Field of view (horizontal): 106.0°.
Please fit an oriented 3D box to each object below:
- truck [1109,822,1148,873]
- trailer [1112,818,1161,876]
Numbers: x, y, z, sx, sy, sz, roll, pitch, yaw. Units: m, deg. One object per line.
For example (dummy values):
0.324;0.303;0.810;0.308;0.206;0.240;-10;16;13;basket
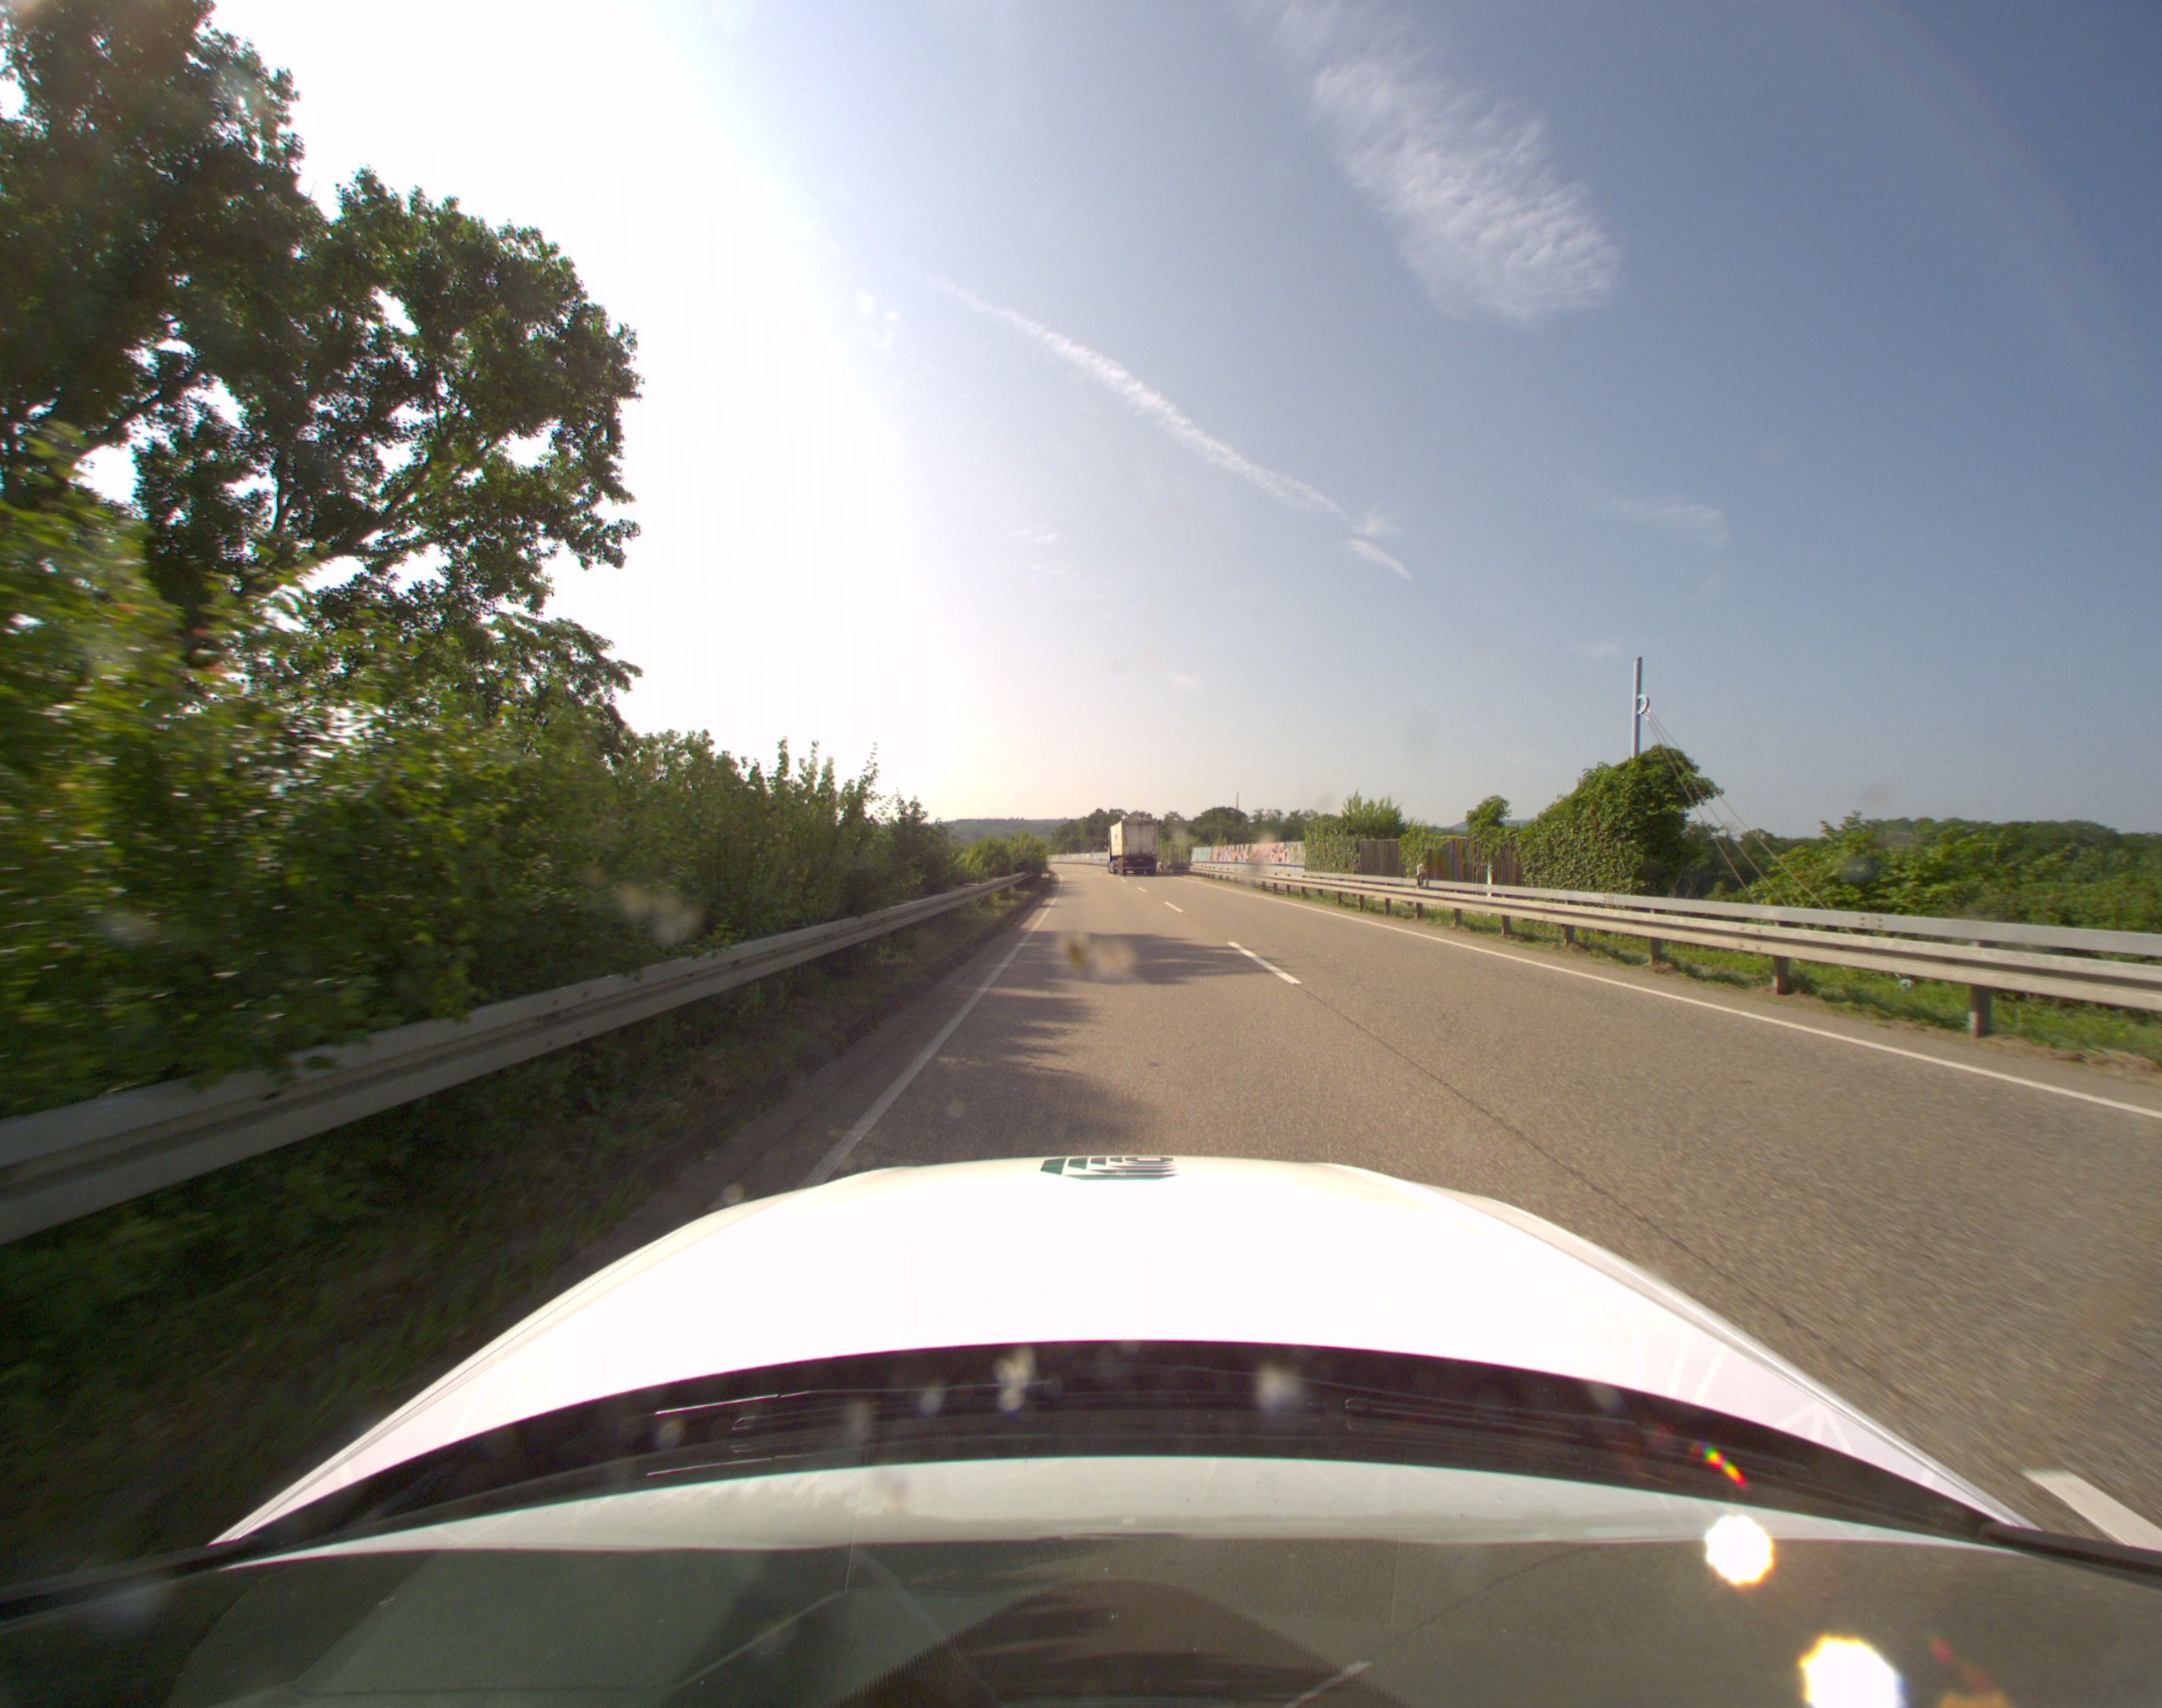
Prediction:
3.747;-0.472;65.886;2.652;3.896;5.643;0;-1;-2;truck
3.916;-0.480;59.998;2.672;3.907;9.665;-1;0;-2;trailer
